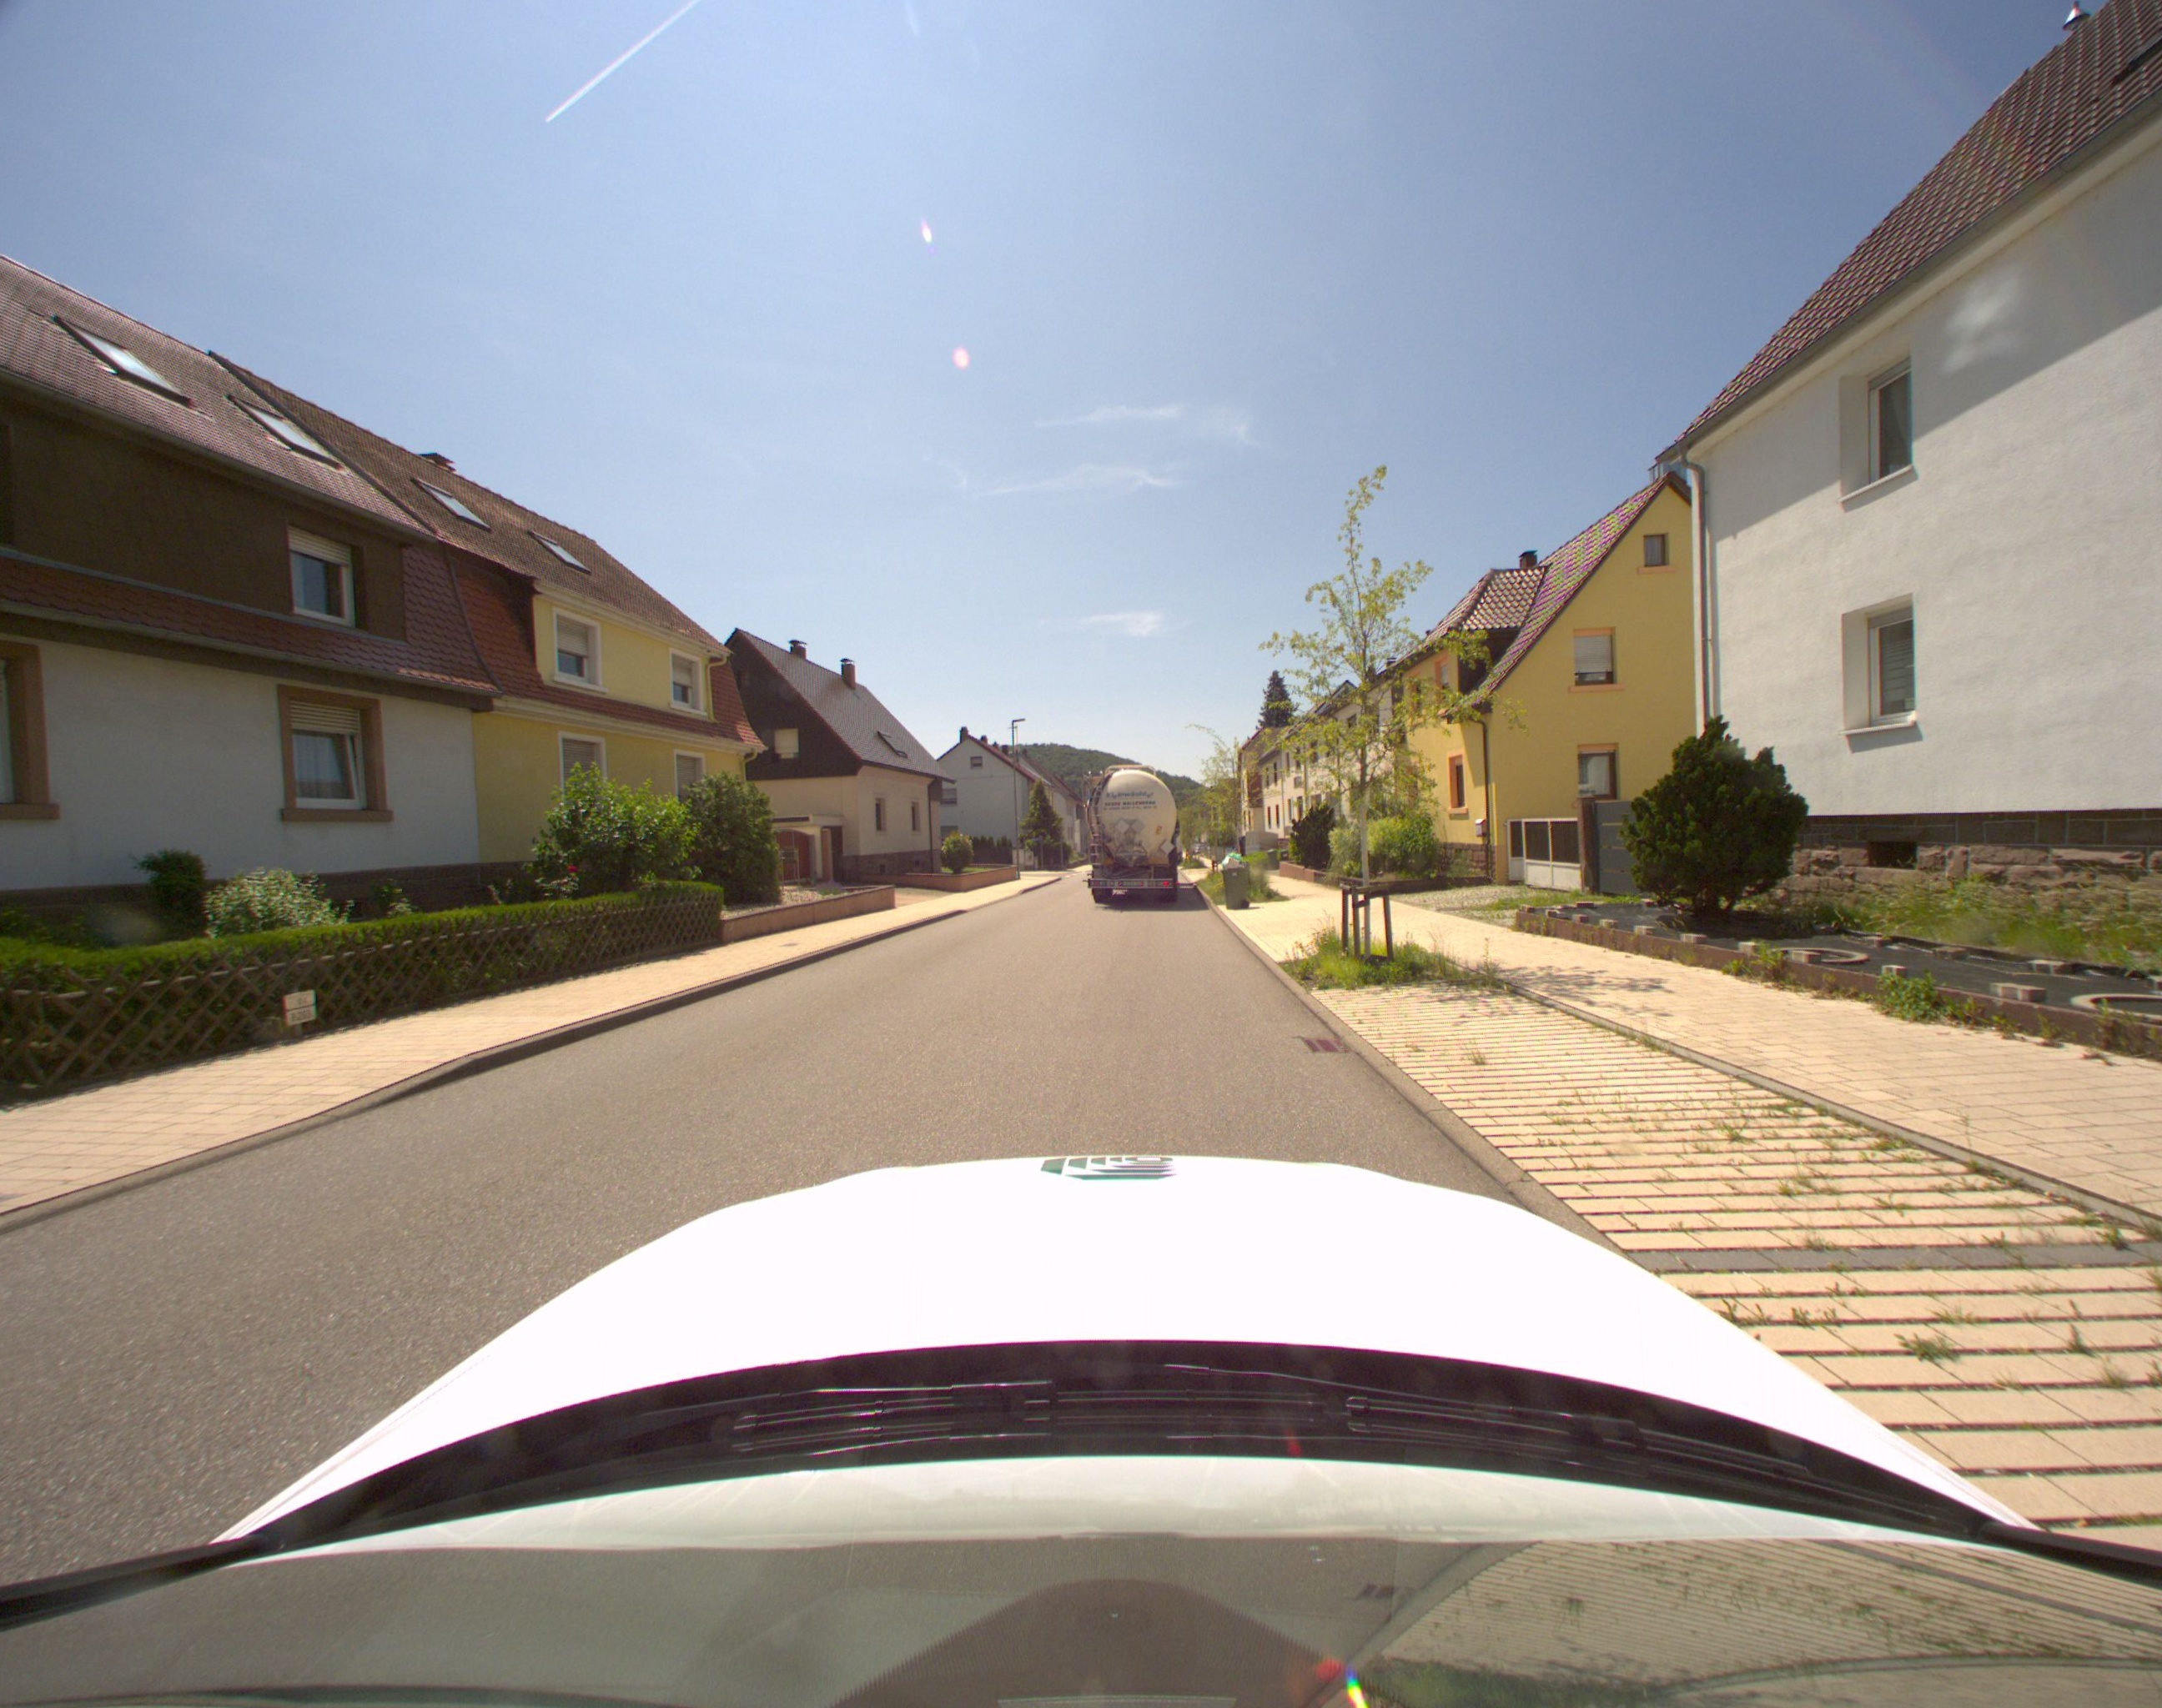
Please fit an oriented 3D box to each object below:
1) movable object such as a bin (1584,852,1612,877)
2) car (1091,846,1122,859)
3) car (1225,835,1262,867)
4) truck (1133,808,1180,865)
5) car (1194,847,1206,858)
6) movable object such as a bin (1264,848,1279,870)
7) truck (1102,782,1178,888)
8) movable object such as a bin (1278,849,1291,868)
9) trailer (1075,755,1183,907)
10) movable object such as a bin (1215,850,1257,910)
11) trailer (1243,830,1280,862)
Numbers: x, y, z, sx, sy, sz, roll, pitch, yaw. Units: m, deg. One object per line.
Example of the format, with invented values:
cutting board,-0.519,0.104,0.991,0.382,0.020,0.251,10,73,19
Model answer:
movable object such as a bin,12.536,0.253,19.765,0.451,0.571,0.376,-1,0,5
car,3.687,-0.197,117.519,4.374,1.750,1.880,-1,0,4
car,11.582,-0.185,58.321,1.843,1.970,4.781,-7,-1,5
truck,7.076,-1.576,77.650,3.893,4.895,9.805,-3,0,3
car,18.469,-0.247,126.603,1.781,1.541,4.528,-2,0,7
movable object such as a bin,10.343,0.269,44.221,0.680,1.115,0.815,-5,-1,11
truck,2.542,-0.728,33.484,2.794,3.936,6.110,0,1,6
movable object such as a bin,11.042,0.250,44.286,0.554,0.986,0.805,-6,-1,12
trailer,1.822,-0.664,26.786,2.782,4.000,10.342,-1,1,6
movable object such as a bin,3.898,0.643,20.579,0.789,1.395,0.926,-6,0,3
trailer,11.841,-0.512,53.437,2.286,2.013,1.308,-1,0,-42
